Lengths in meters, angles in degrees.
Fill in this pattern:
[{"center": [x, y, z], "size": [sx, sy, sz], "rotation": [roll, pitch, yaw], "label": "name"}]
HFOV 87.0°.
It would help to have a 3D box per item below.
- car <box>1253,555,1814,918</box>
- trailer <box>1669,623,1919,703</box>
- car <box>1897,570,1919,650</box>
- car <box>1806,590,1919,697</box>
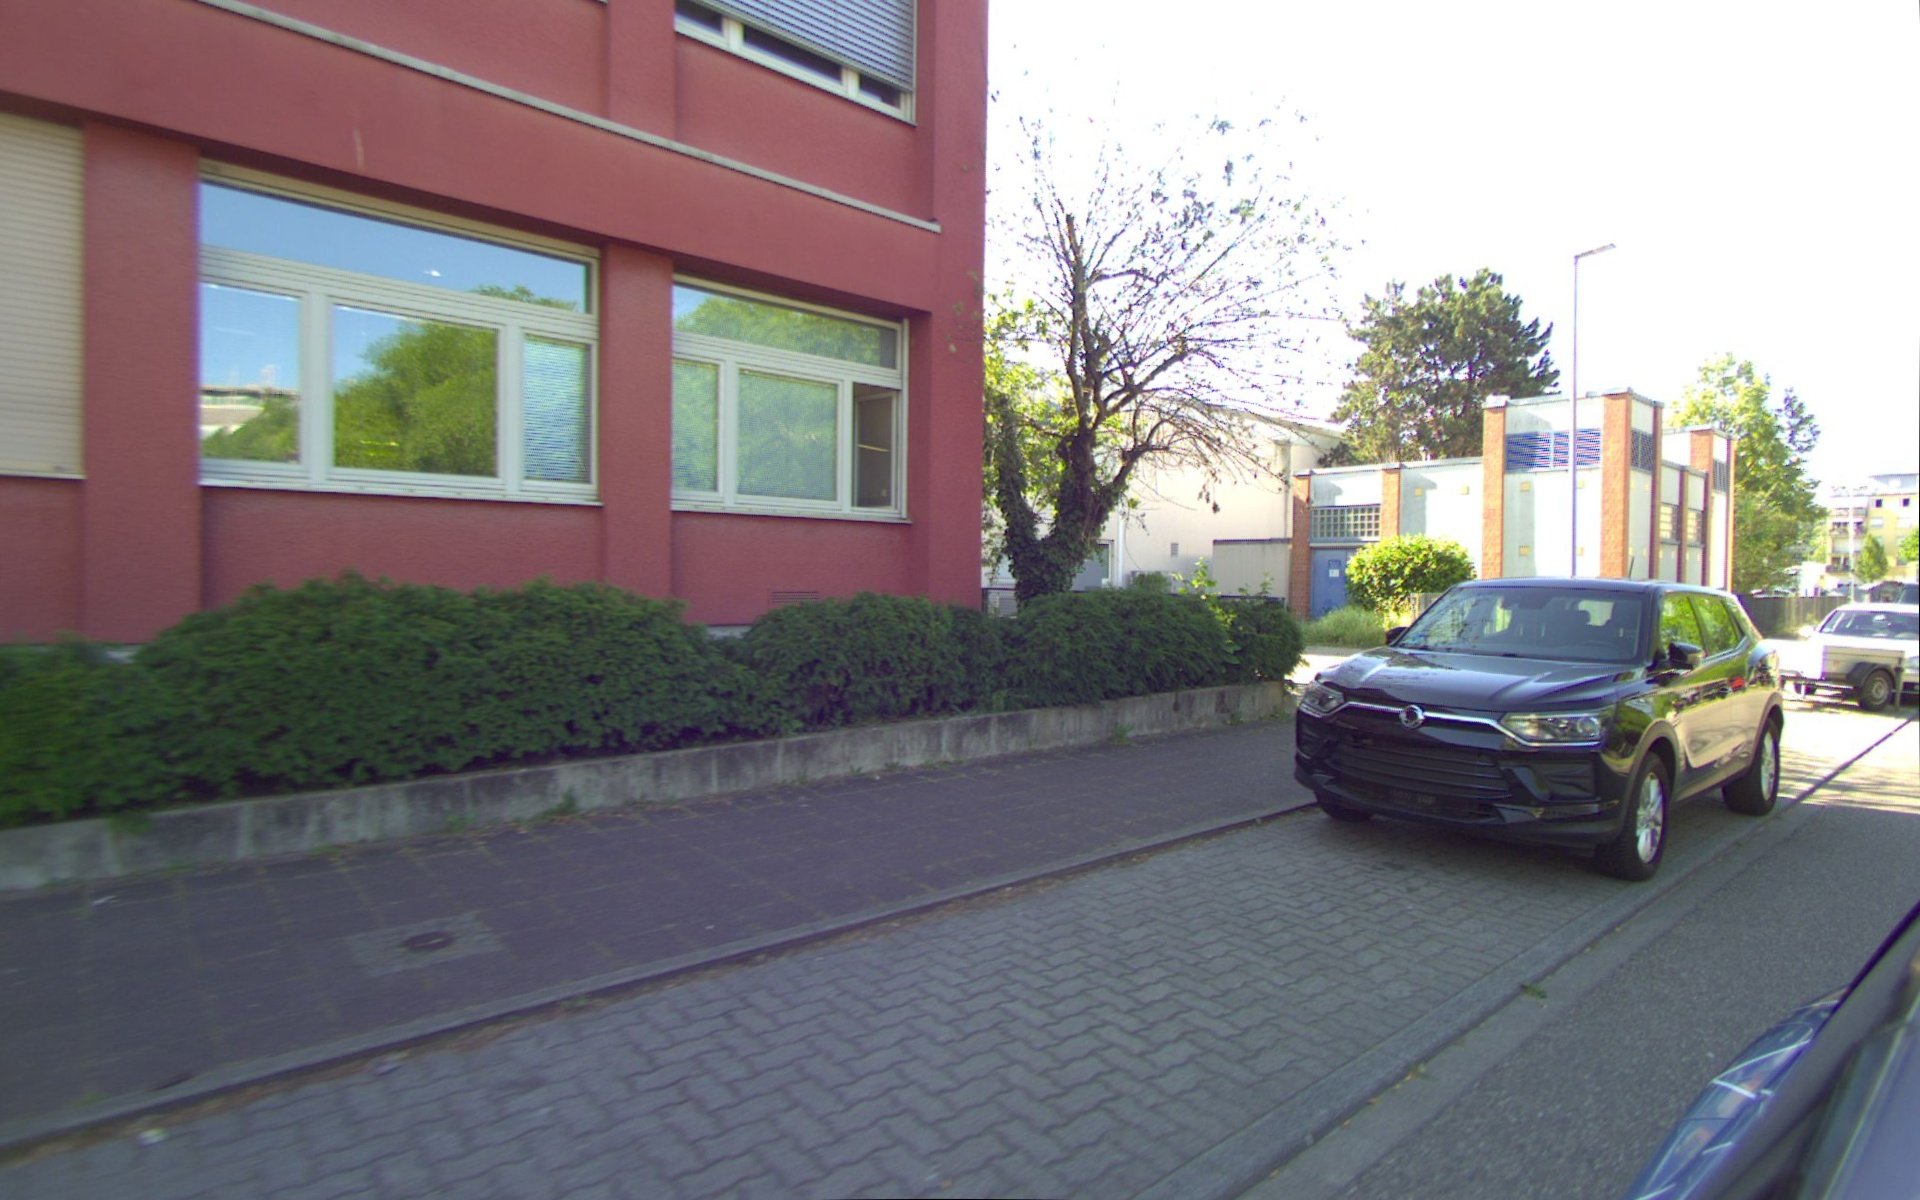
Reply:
[{"center": [4.008, 0.577, 6.738], "size": [4.329, 1.650, 1.878], "rotation": [0, 2, -41], "label": "car"}, {"center": [11.805, 0.841, 14.131], "size": [2.918, 0.938, 1.571], "rotation": [1, 2, -14], "label": "trailer"}, {"center": [26.361, 0.262, 26.699], "size": [4.296, 2.010, 1.902], "rotation": [0, 2, -41], "label": "car"}, {"center": [14.835, 0.613, 15.937], "size": [3.821, 1.474, 1.698], "rotation": [0, 2, -41], "label": "car"}]
